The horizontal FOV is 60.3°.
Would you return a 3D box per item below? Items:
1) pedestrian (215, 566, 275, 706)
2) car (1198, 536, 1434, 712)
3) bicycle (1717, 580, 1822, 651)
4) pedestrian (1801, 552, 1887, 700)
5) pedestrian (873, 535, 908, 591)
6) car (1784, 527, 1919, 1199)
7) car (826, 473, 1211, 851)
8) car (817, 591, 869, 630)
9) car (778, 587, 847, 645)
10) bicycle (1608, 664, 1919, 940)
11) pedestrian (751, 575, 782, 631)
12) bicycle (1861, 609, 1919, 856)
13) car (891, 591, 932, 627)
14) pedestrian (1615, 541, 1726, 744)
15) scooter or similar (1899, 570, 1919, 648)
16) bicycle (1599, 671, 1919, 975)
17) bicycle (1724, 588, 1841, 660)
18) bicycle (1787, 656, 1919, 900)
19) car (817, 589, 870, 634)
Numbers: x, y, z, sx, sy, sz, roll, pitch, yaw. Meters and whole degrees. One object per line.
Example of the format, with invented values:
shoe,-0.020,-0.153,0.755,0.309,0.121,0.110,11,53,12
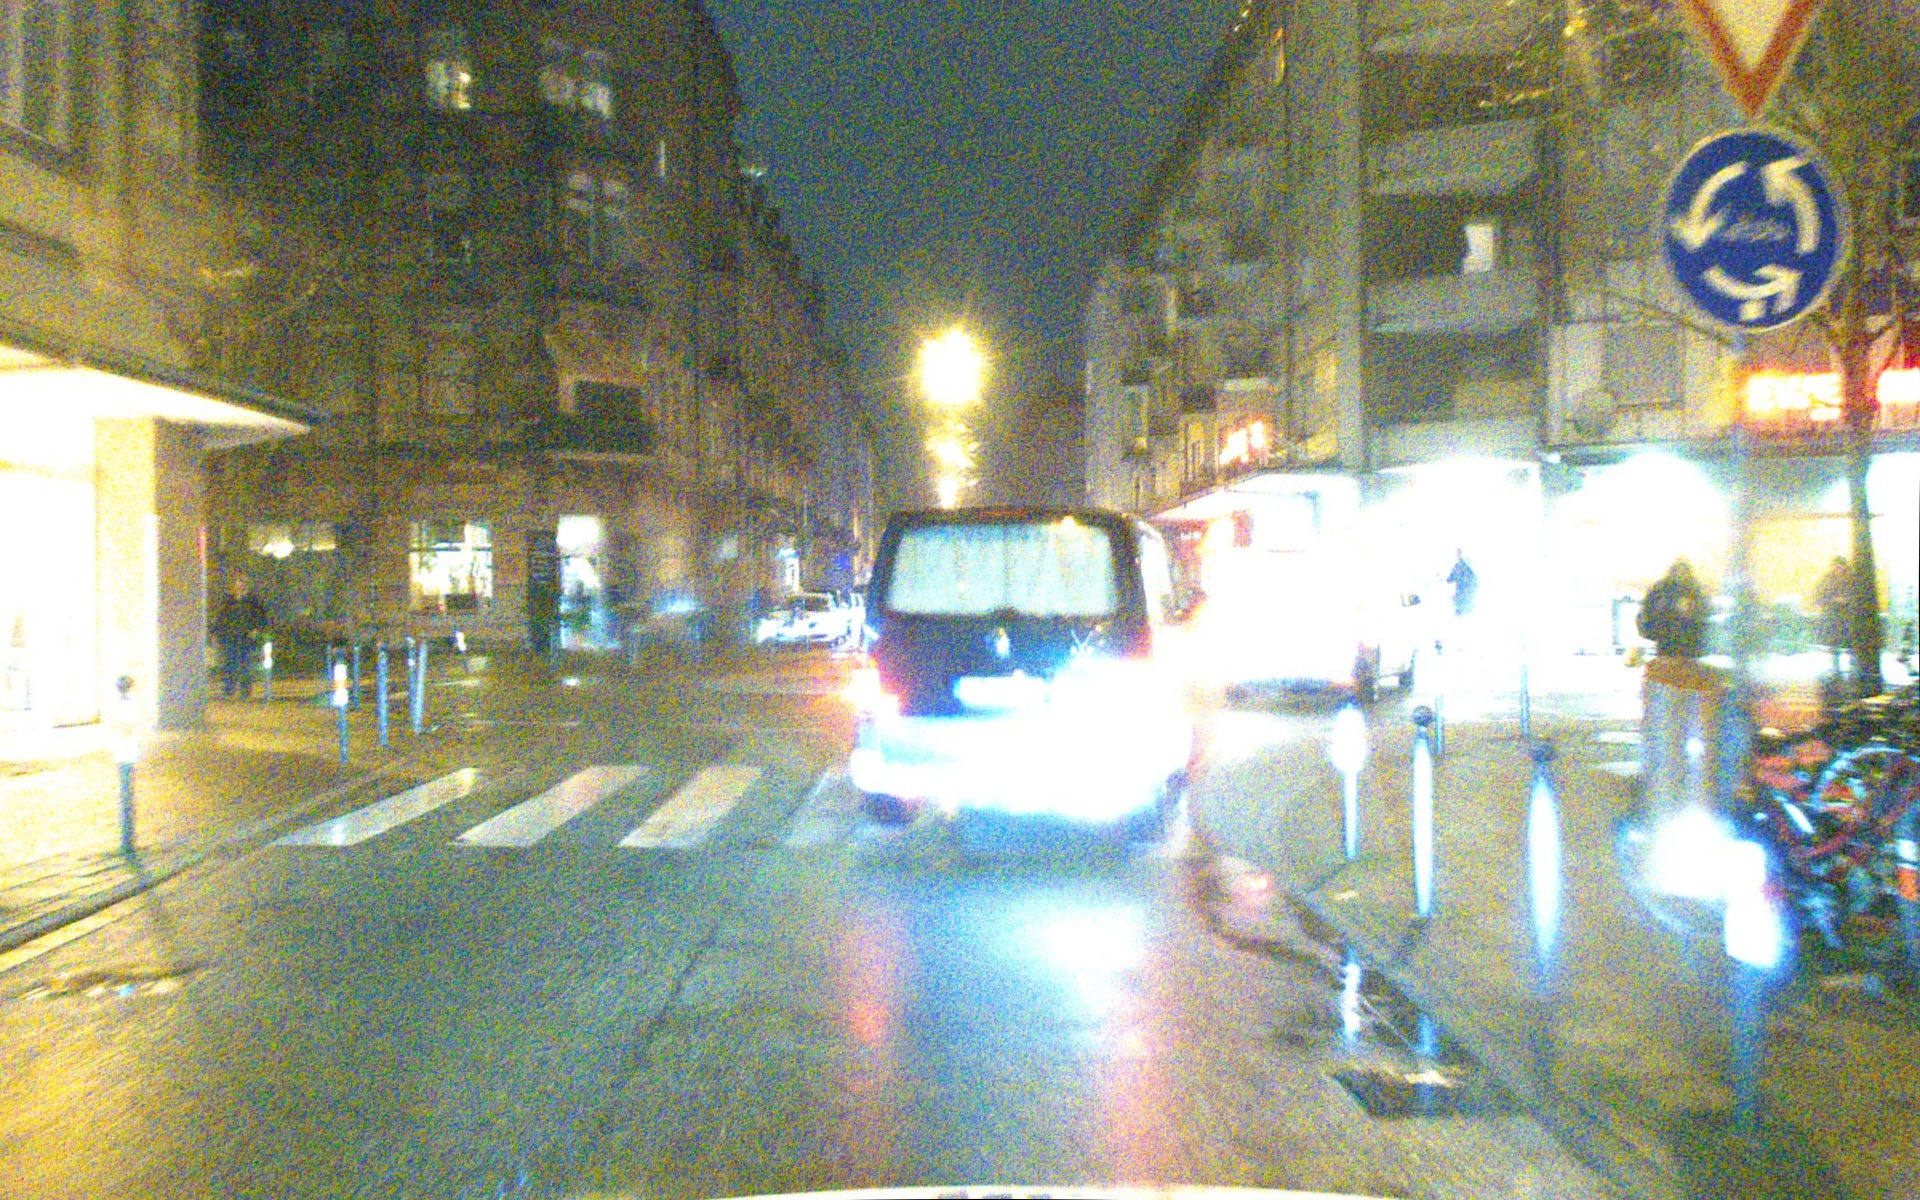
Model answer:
pedestrian,-10.122,0.507,23.406,0.646,1.942,0.621,2,-1,-33
car,4.665,0.248,21.060,2.079,1.956,4.825,1,0,23
bicycle,14.107,0.263,28.832,1.610,1.194,0.383,1,-2,28
pedestrian,11.437,0.326,21.396,0.861,1.865,0.980,-1,0,35
pedestrian,-2.323,-1.234,55.298,1.098,1.843,0.715,-1,0,1
car,4.134,0.558,4.014,4.203,1.601,1.755,-3,0,-29
car,0.478,0.323,11.230,2.078,2.026,4.603,0,0,4
car,-4.382,0.380,62.536,1.655,1.425,4.316,0,0,0
car,-4.156,0.426,47.151,1.554,1.489,4.024,3,0,0
bicycle,3.535,0.797,6.747,0.333,1.044,1.619,-2,-1,-45
pedestrian,-6.349,0.101,54.276,0.787,1.797,1.016,1,-1,5
bicycle,4.738,0.608,7.099,0.331,1.111,1.632,-2,1,-26
car,-2.037,0.361,70.383,1.531,1.452,4.070,-2,0,1
pedestrian,6.473,0.374,15.093,0.808,1.802,0.600,1,0,12
scooter or similar,15.879,0.134,27.410,0.515,1.251,1.311,1,1,29
bicycle,3.309,0.823,6.304,1.618,1.044,0.334,0,1,44
bicycle,13.762,0.392,27.695,1.747,1.194,0.384,0,0,28
bicycle,4.370,0.748,6.974,0.331,1.044,1.629,0,-4,-29
car,-3.919,0.375,56.252,1.554,1.474,3.503,0,0,0
